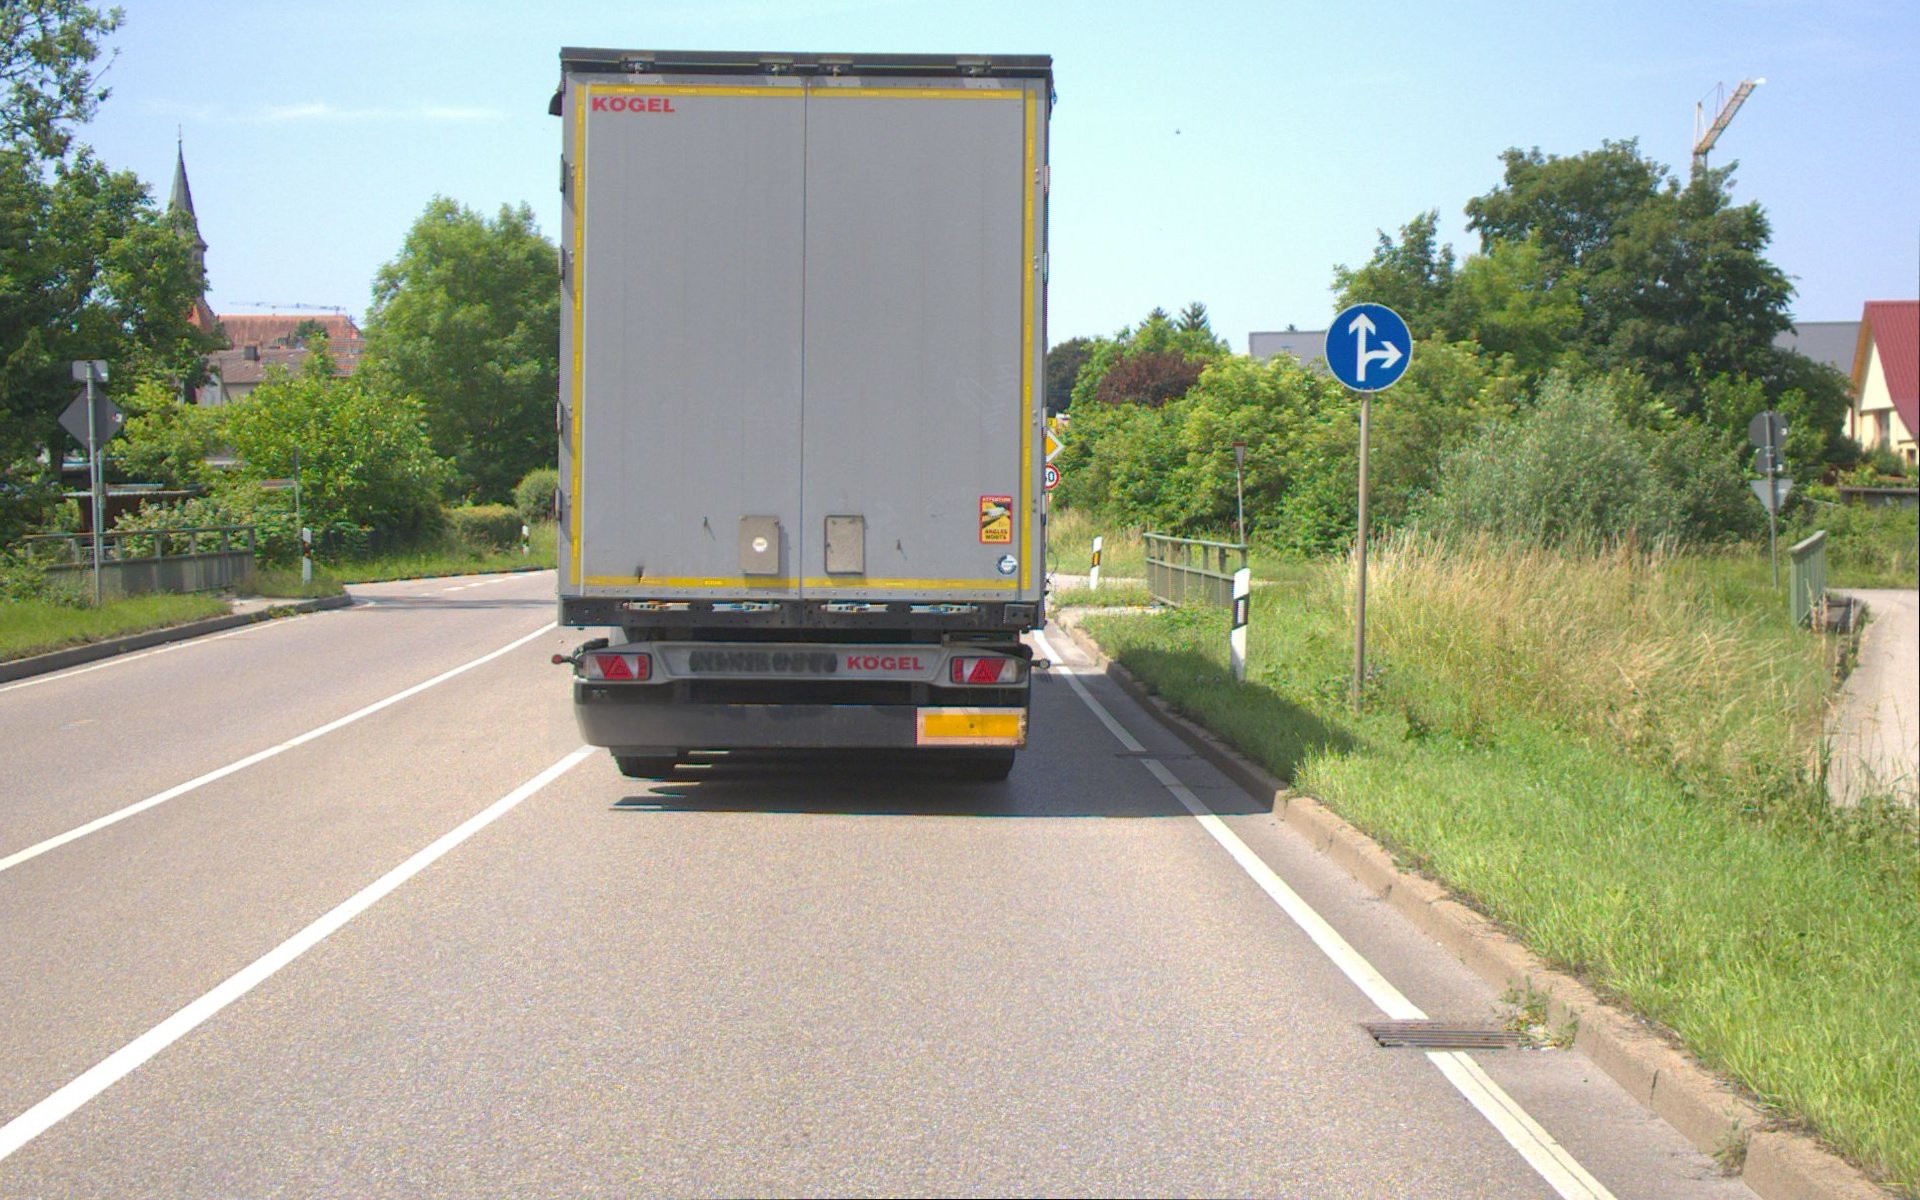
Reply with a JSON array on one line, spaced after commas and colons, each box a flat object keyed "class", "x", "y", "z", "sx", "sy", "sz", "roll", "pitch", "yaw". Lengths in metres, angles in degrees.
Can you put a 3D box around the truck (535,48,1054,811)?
[{"class": "truck", "x": -1.002, "y": -0.952, "z": 22.078, "sx": 2.647, "sy": 3.903, "sz": 8.826, "roll": 0, "pitch": 1, "yaw": -2}]
